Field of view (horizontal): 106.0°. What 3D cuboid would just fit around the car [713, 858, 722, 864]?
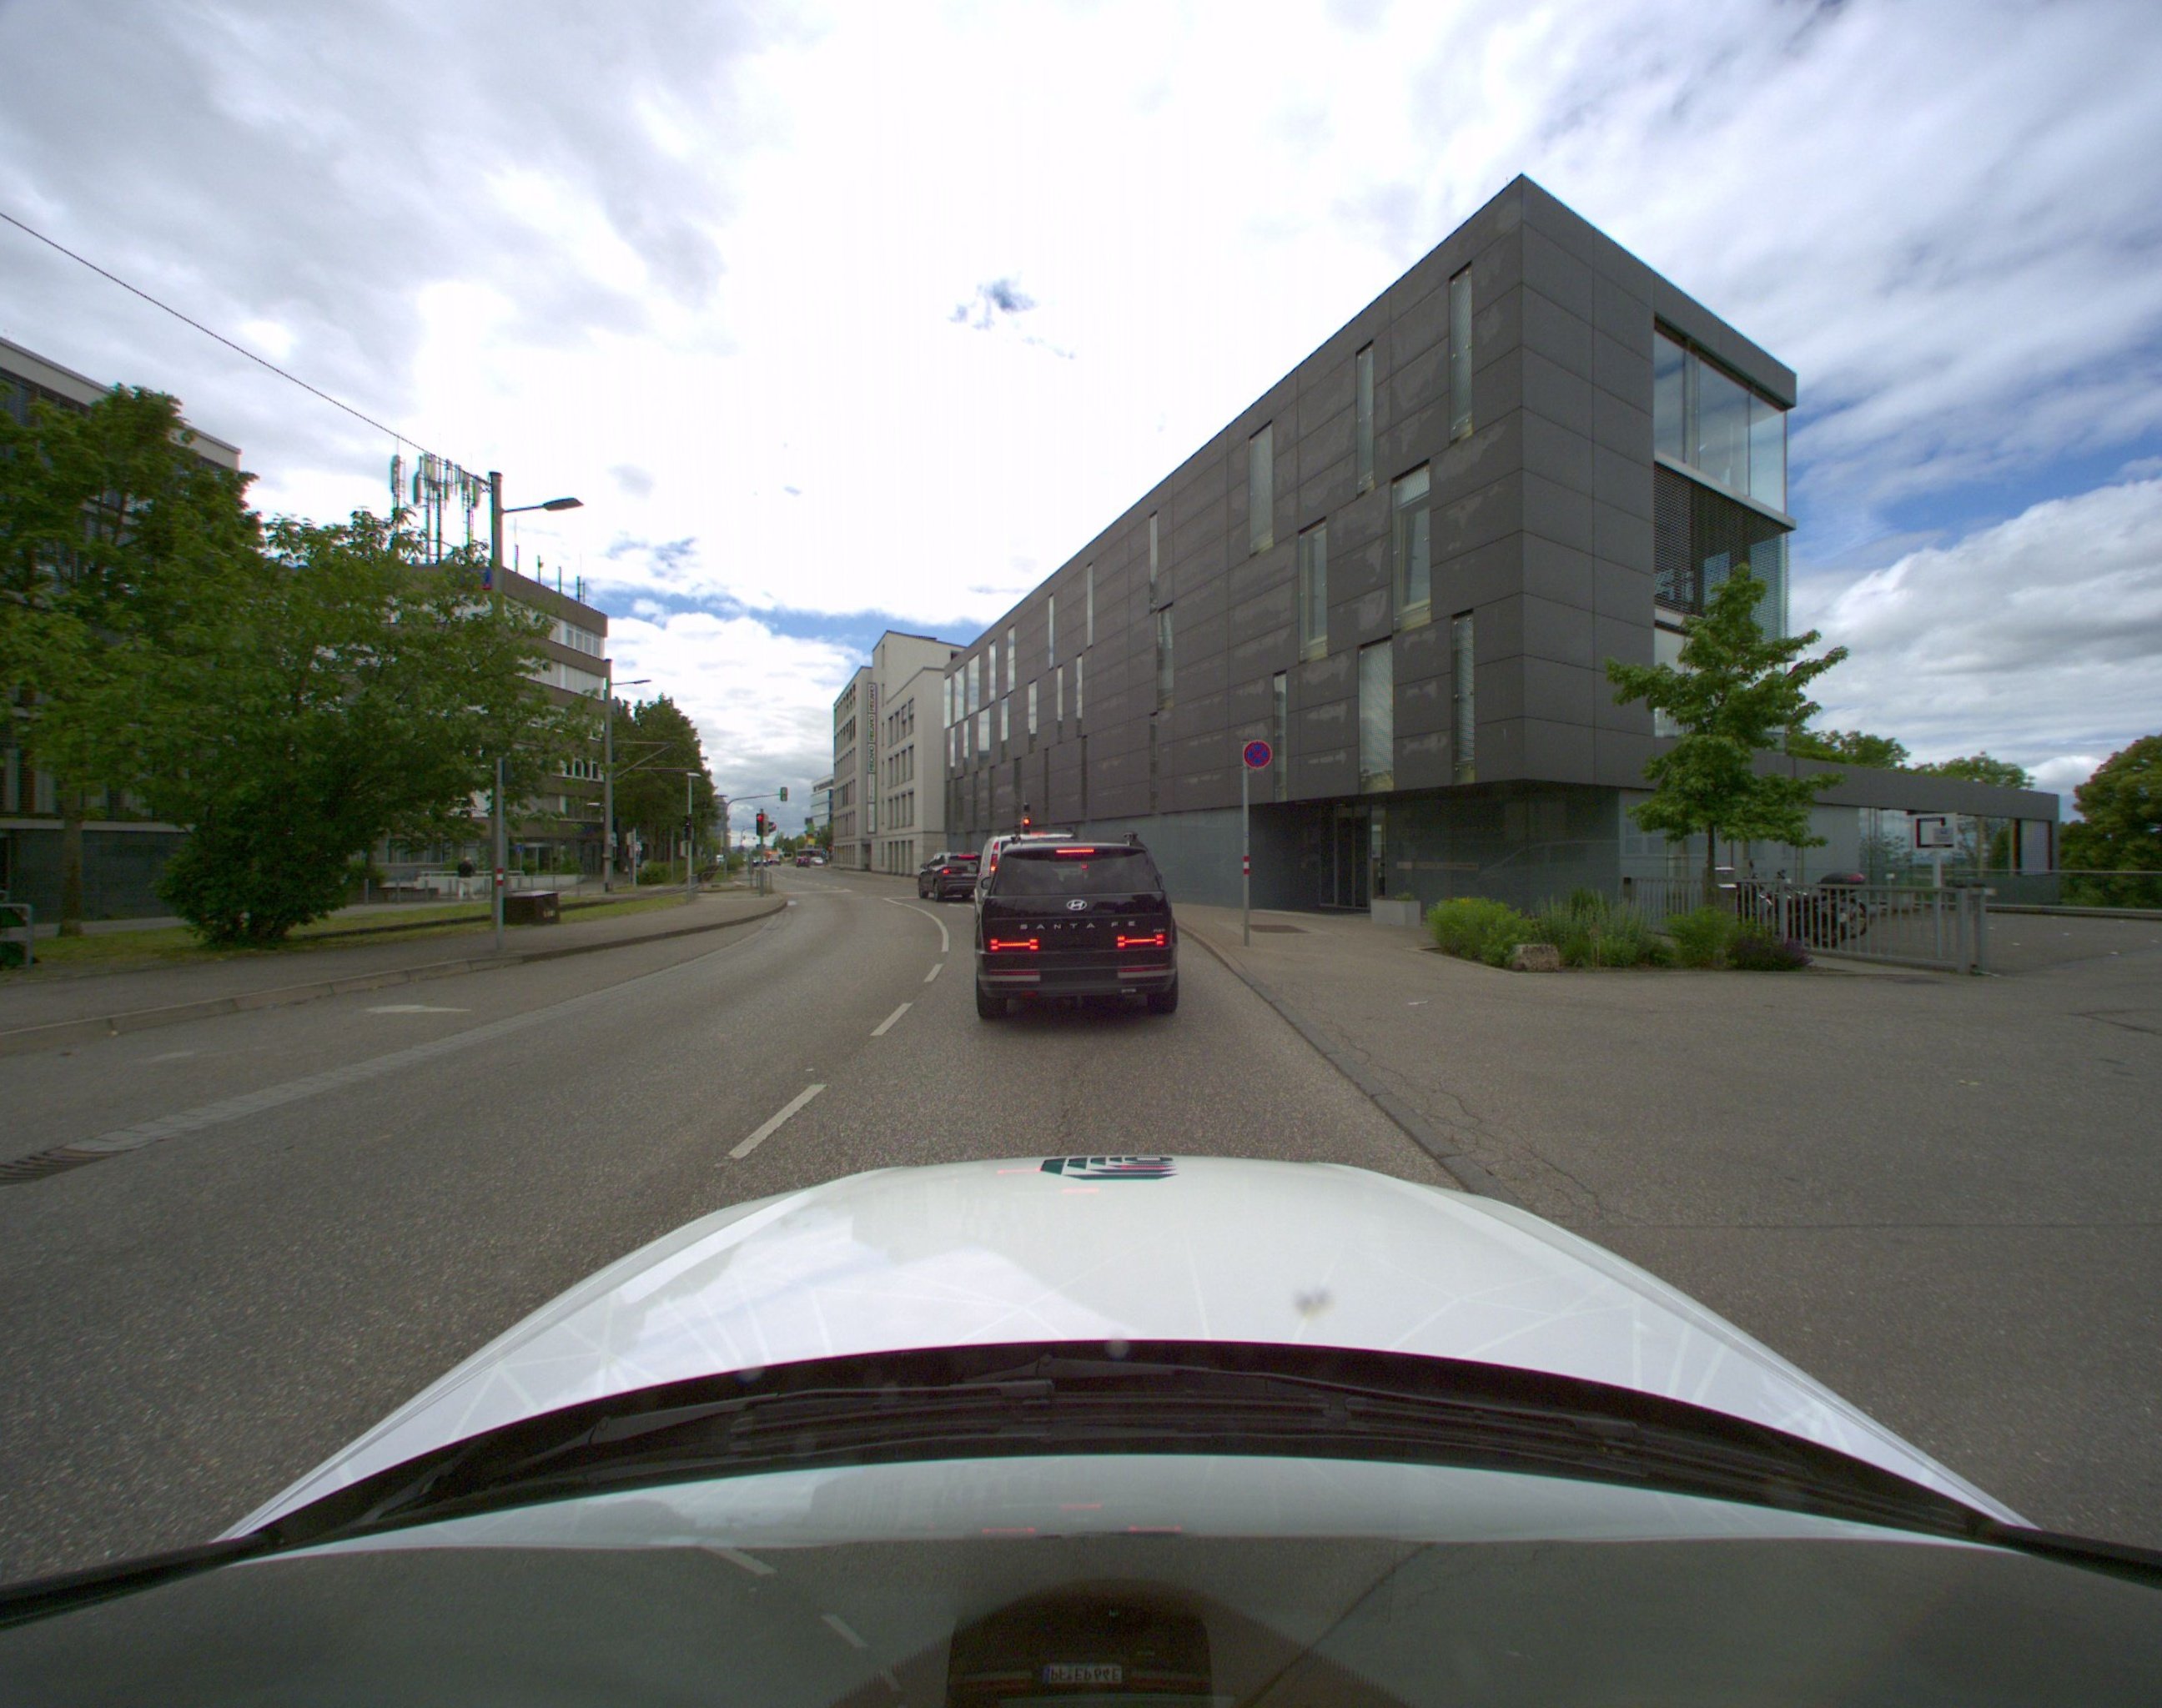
[{"bbox_3d":[-103.744,1.934,232.266,1.927,1.725,4.131,1,0,-30],"label":"car"}]

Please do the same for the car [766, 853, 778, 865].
[{"bbox_3d":[-51.676,0.783,136.279,1.857,1.923,3.974,0,0,-19],"label":"car"}]

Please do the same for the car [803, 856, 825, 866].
[{"bbox_3d":[-46.274,1.169,141.288,3.949,1.759,1.869,0,0,41],"label":"car"}]

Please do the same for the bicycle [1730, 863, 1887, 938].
[{"bbox_3d":[13.344,0.809,15.024,0.617,1.260,2.085,0,0,-25],"label":"bicycle"}]

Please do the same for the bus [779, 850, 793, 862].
[{"bbox_3d":[-81.884,0.536,225.858,3.096,2.928,10.261,1,0,-24],"label":"bus"}]

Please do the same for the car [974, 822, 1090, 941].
[{"bbox_3d":[-1.128,0.462,16.300,1.855,2.033,4.422,-1,0,-10],"label":"car"}]

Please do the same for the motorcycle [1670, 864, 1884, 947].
[{"bbox_3d":[11.808,0.813,13.975,0.850,1.260,2.672,0,0,-25],"label":"motorcycle"}]

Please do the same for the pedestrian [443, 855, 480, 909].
[{"bbox_3d":[-23.813,1.074,31.322,0.768,2.014,0.885,3,-1,-17],"label":"pedestrian"}]

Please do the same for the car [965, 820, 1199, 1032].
[{"bbox_3d":[-0.030,0.602,8.874,1.910,1.725,4.168,1,0,-1],"label":"car"}]

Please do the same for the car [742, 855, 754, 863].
[{"bbox_3d":[-75.392,1.196,184.529,1.927,1.725,4.131,1,0,-30],"label":"car"}]

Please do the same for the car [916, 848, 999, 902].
[{"bbox_3d":[-4.381,0.692,28.306,1.856,1.677,4.341,-1,0,-23],"label":"car"}]

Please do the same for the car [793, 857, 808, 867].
[{"bbox_3d":[-41.842,1.227,121.688,1.903,1.486,3.978,0,0,-16],"label":"car"}]

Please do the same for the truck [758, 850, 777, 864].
[{"bbox_3d":[-65.566,0.551,170.232,2.589,2.825,6.923,0,0,-29],"label":"truck"}]

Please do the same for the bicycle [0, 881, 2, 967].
[{"bbox_3d":[-12.592,0.827,8.414,2.090,1.106,0.632,1,0,2],"label":"bicycle"}]
